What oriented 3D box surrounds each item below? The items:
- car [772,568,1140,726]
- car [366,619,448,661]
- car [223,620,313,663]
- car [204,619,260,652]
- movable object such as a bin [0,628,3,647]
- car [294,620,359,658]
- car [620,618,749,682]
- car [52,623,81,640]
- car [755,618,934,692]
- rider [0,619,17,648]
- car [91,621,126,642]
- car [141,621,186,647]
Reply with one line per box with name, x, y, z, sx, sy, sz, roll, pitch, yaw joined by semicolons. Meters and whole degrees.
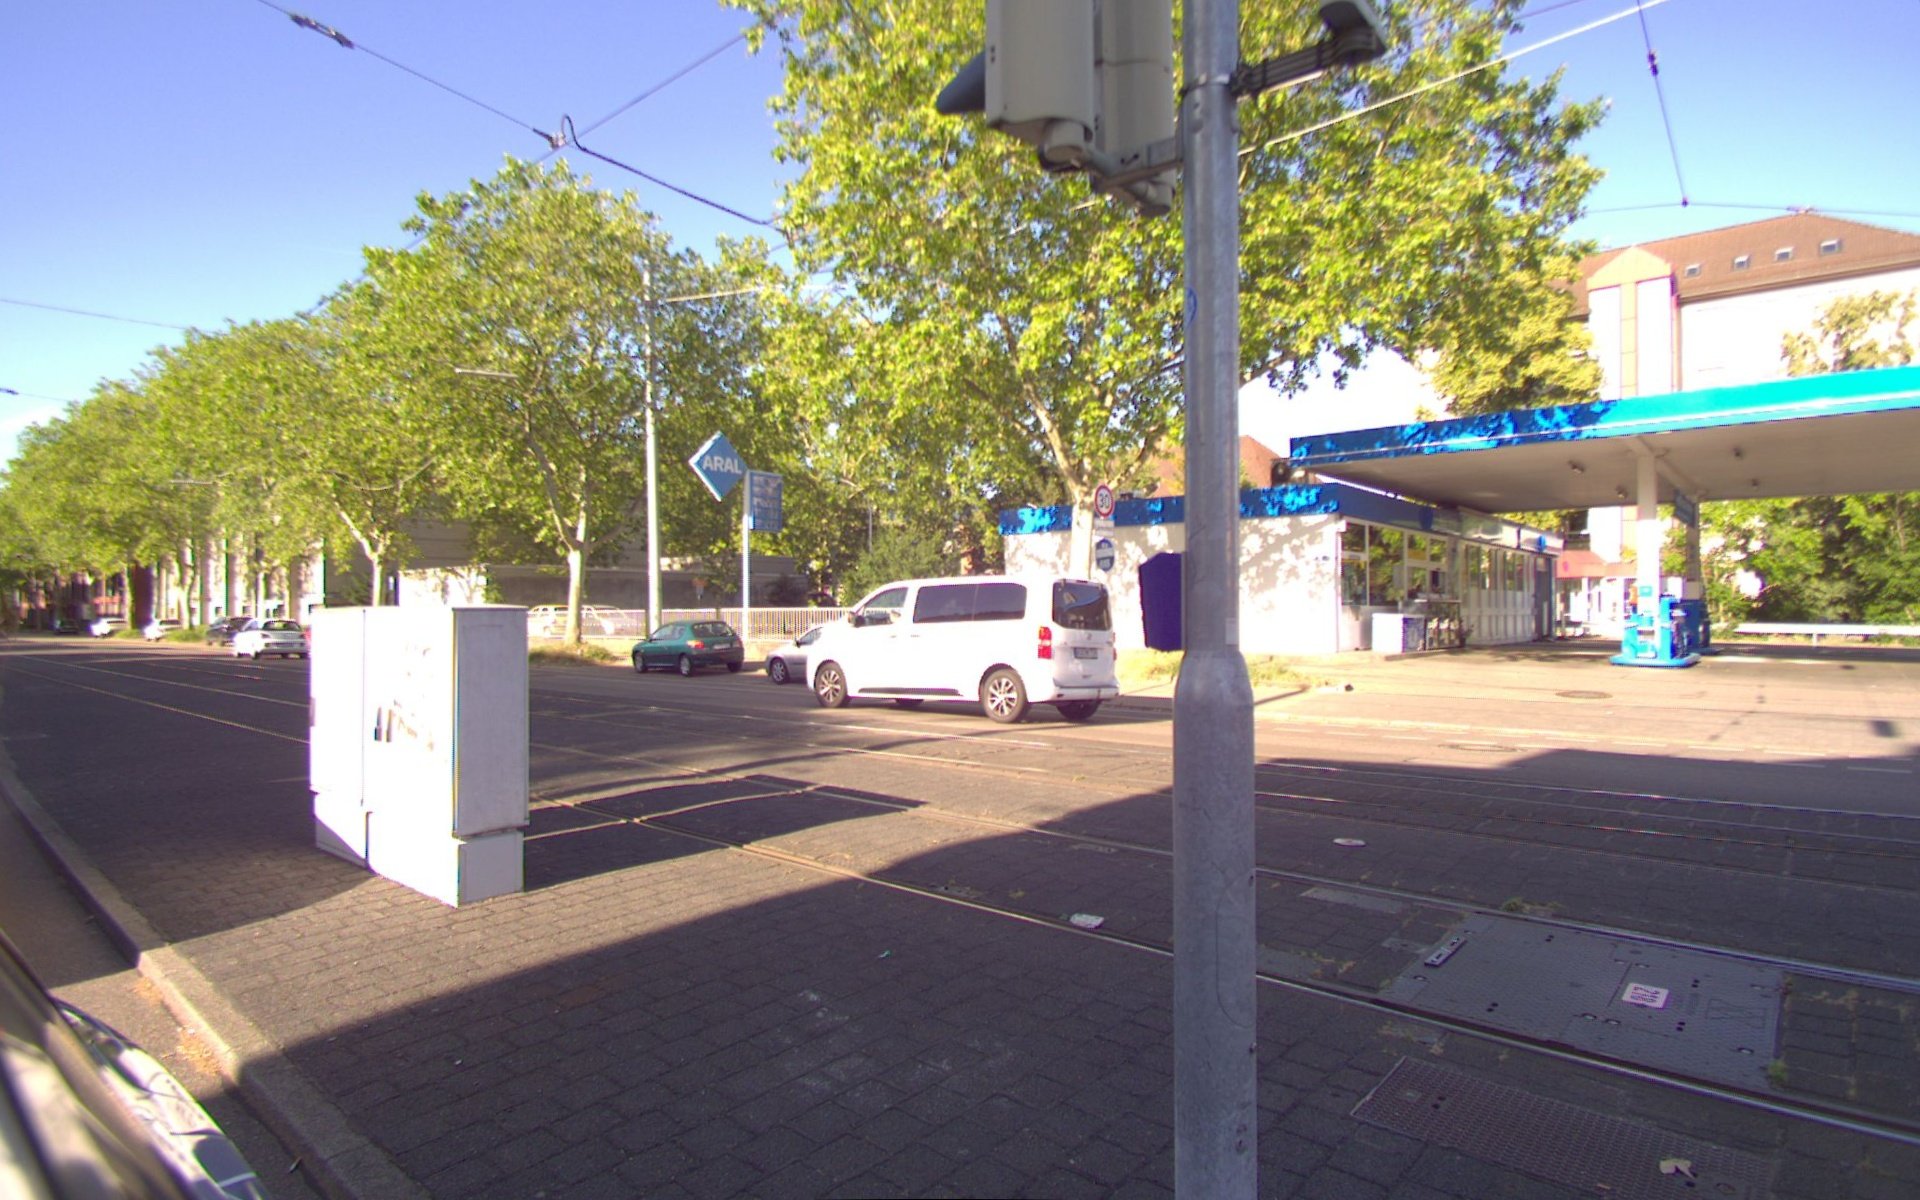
car;-0.214;0.651;14.425;5.212;1.868;1.973;-1;-4;41
car;-21.818;1.542;39.867;3.769;1.455;1.701;-1;2;43
car;-25.120;1.488;36.700;3.933;1.446;1.720;-1;-4;41
car;-40.686;1.953;56.528;3.878;1.603;1.731;-1;2;43
movable object such as a bin;-58.317;2.271;60.101;1.809;1.111;1.179;-1;0;0
car;-28.805;1.742;45.970;3.377;1.506;1.639;-1;2;43
car;-7.379;1.276;26.962;3.606;1.455;1.598;-1;2;43
car;-85.025;2.961;96.281;3.731;1.471;1.639;-1;2;43
car;-2.644;1.171;22.603;3.987;1.376;1.666;-2;3;41
rider;-56.860;1.992;60.069;1.091;1.660;0.726;-1;0;0
car;-66.815;2.458;79.404;3.731;1.471;1.639;-1;2;43
car;-53.725;2.248;68.240;3.878;1.552;1.731;-1;2;43
